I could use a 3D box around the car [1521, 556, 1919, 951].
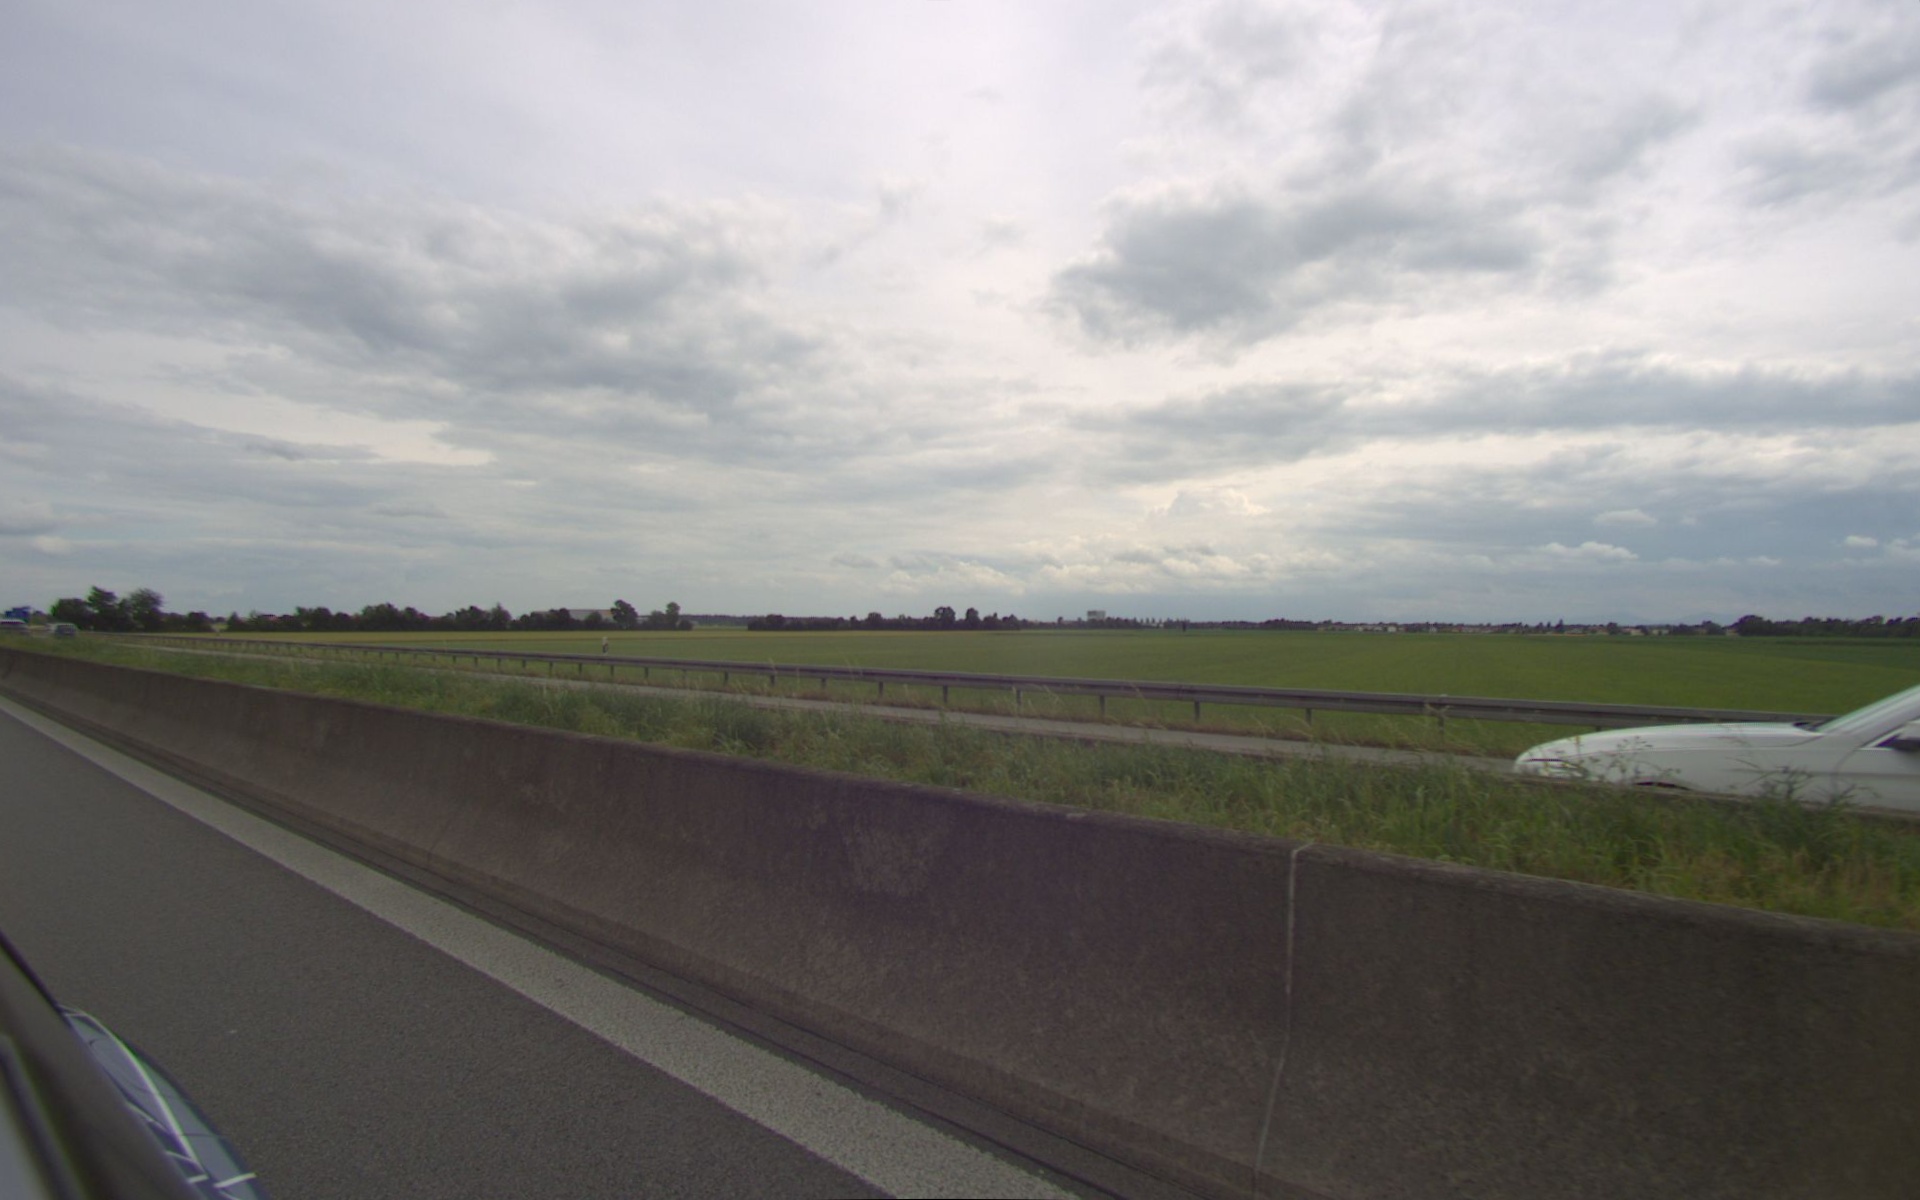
[{"bbox_3d":[5.573,0.692,4.437,5.172,1.707,1.927,-1,-3,41],"label":"car"}]

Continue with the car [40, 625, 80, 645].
[{"bbox_3d":[-68.925,2.672,77.519,4.528,1.499,1.727,-1,-4,42],"label":"car"}]

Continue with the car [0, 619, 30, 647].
[{"bbox_3d":[-61.122,2.096,64.756,4.356,1.707,1.821,-1,-3,41],"label":"car"}]
